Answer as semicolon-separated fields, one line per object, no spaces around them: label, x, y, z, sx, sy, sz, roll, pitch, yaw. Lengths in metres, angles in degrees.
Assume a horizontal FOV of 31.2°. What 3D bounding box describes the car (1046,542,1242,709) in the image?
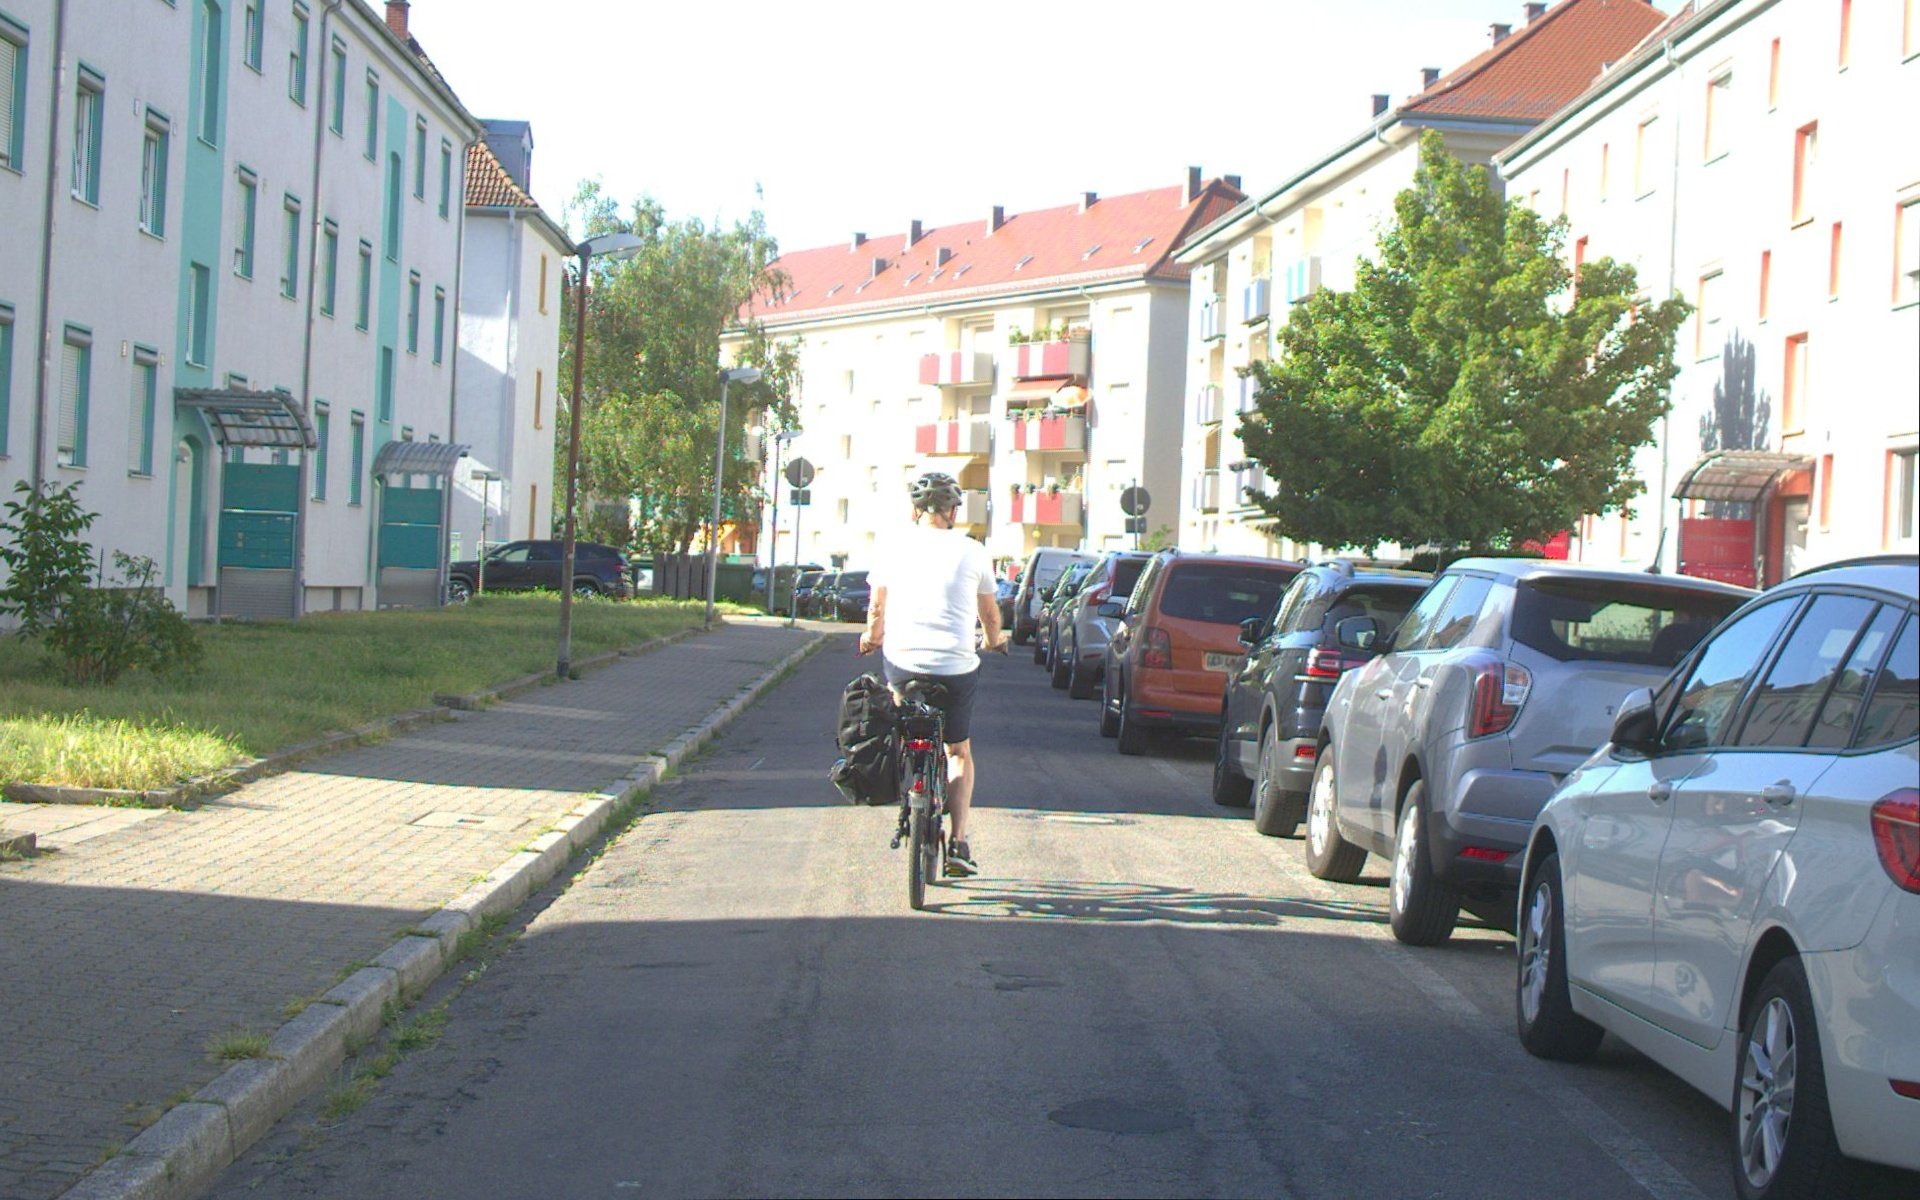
car;2.010;0.239;38.773;1.700;1.665;4.380;4;1;-2

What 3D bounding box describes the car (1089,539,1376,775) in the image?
car;2.151;0.409;28.187;1.862;1.662;4.127;4;1;-1

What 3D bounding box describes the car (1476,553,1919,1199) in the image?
car;2.665;0.722;9.192;1.690;1.569;4.435;4;1;-2

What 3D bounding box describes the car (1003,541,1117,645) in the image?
car;1.787;-0.160;62.280;1.674;1.733;3.943;3;1;-3

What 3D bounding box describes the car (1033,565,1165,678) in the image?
car;1.908;0.263;48.029;1.559;1.406;3.933;3;1;-1

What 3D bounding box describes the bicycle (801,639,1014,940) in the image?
bicycle;-0.256;0.767;14.725;0.808;1.124;2.102;1;1;-3

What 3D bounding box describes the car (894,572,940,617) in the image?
car;-1.568;-0.217;124.442;1.469;1.511;3.077;3;1;-3

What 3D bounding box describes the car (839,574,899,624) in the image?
car;-2.531;-0.050;95.319;1.469;1.331;3.141;-1;1;-5

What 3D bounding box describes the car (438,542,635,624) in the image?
car;-9.405;-0.384;76.540;4.231;1.633;1.583;2;1;-4

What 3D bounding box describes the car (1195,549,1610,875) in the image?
car;2.508;0.565;20.527;1.712;1.590;4.398;5;1;-1

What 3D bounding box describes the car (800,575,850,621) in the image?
car;-4.182;-0.068;106.349;1.469;1.331;3.141;-1;1;-3

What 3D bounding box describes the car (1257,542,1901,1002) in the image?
car;2.553;0.620;15.317;1.750;1.612;4.452;5;1;-3

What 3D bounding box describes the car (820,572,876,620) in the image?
car;-3.263;-0.127;99.689;1.469;1.331;3.141;-1;1;-5

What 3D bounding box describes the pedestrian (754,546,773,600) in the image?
pedestrian;-5.217;-0.709;91.408;0.434;1.422;0.543;2;1;-1

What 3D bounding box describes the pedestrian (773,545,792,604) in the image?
pedestrian;-4.719;-0.679;91.443;0.434;1.569;0.543;2;1;-1

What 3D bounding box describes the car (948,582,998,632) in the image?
car;0.410;0.211;111.878;1.381;1.492;3.077;3;1;-3

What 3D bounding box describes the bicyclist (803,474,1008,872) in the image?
bicyclist;-0.245;0.297;14.744;0.808;1.638;0.899;1;1;-3
